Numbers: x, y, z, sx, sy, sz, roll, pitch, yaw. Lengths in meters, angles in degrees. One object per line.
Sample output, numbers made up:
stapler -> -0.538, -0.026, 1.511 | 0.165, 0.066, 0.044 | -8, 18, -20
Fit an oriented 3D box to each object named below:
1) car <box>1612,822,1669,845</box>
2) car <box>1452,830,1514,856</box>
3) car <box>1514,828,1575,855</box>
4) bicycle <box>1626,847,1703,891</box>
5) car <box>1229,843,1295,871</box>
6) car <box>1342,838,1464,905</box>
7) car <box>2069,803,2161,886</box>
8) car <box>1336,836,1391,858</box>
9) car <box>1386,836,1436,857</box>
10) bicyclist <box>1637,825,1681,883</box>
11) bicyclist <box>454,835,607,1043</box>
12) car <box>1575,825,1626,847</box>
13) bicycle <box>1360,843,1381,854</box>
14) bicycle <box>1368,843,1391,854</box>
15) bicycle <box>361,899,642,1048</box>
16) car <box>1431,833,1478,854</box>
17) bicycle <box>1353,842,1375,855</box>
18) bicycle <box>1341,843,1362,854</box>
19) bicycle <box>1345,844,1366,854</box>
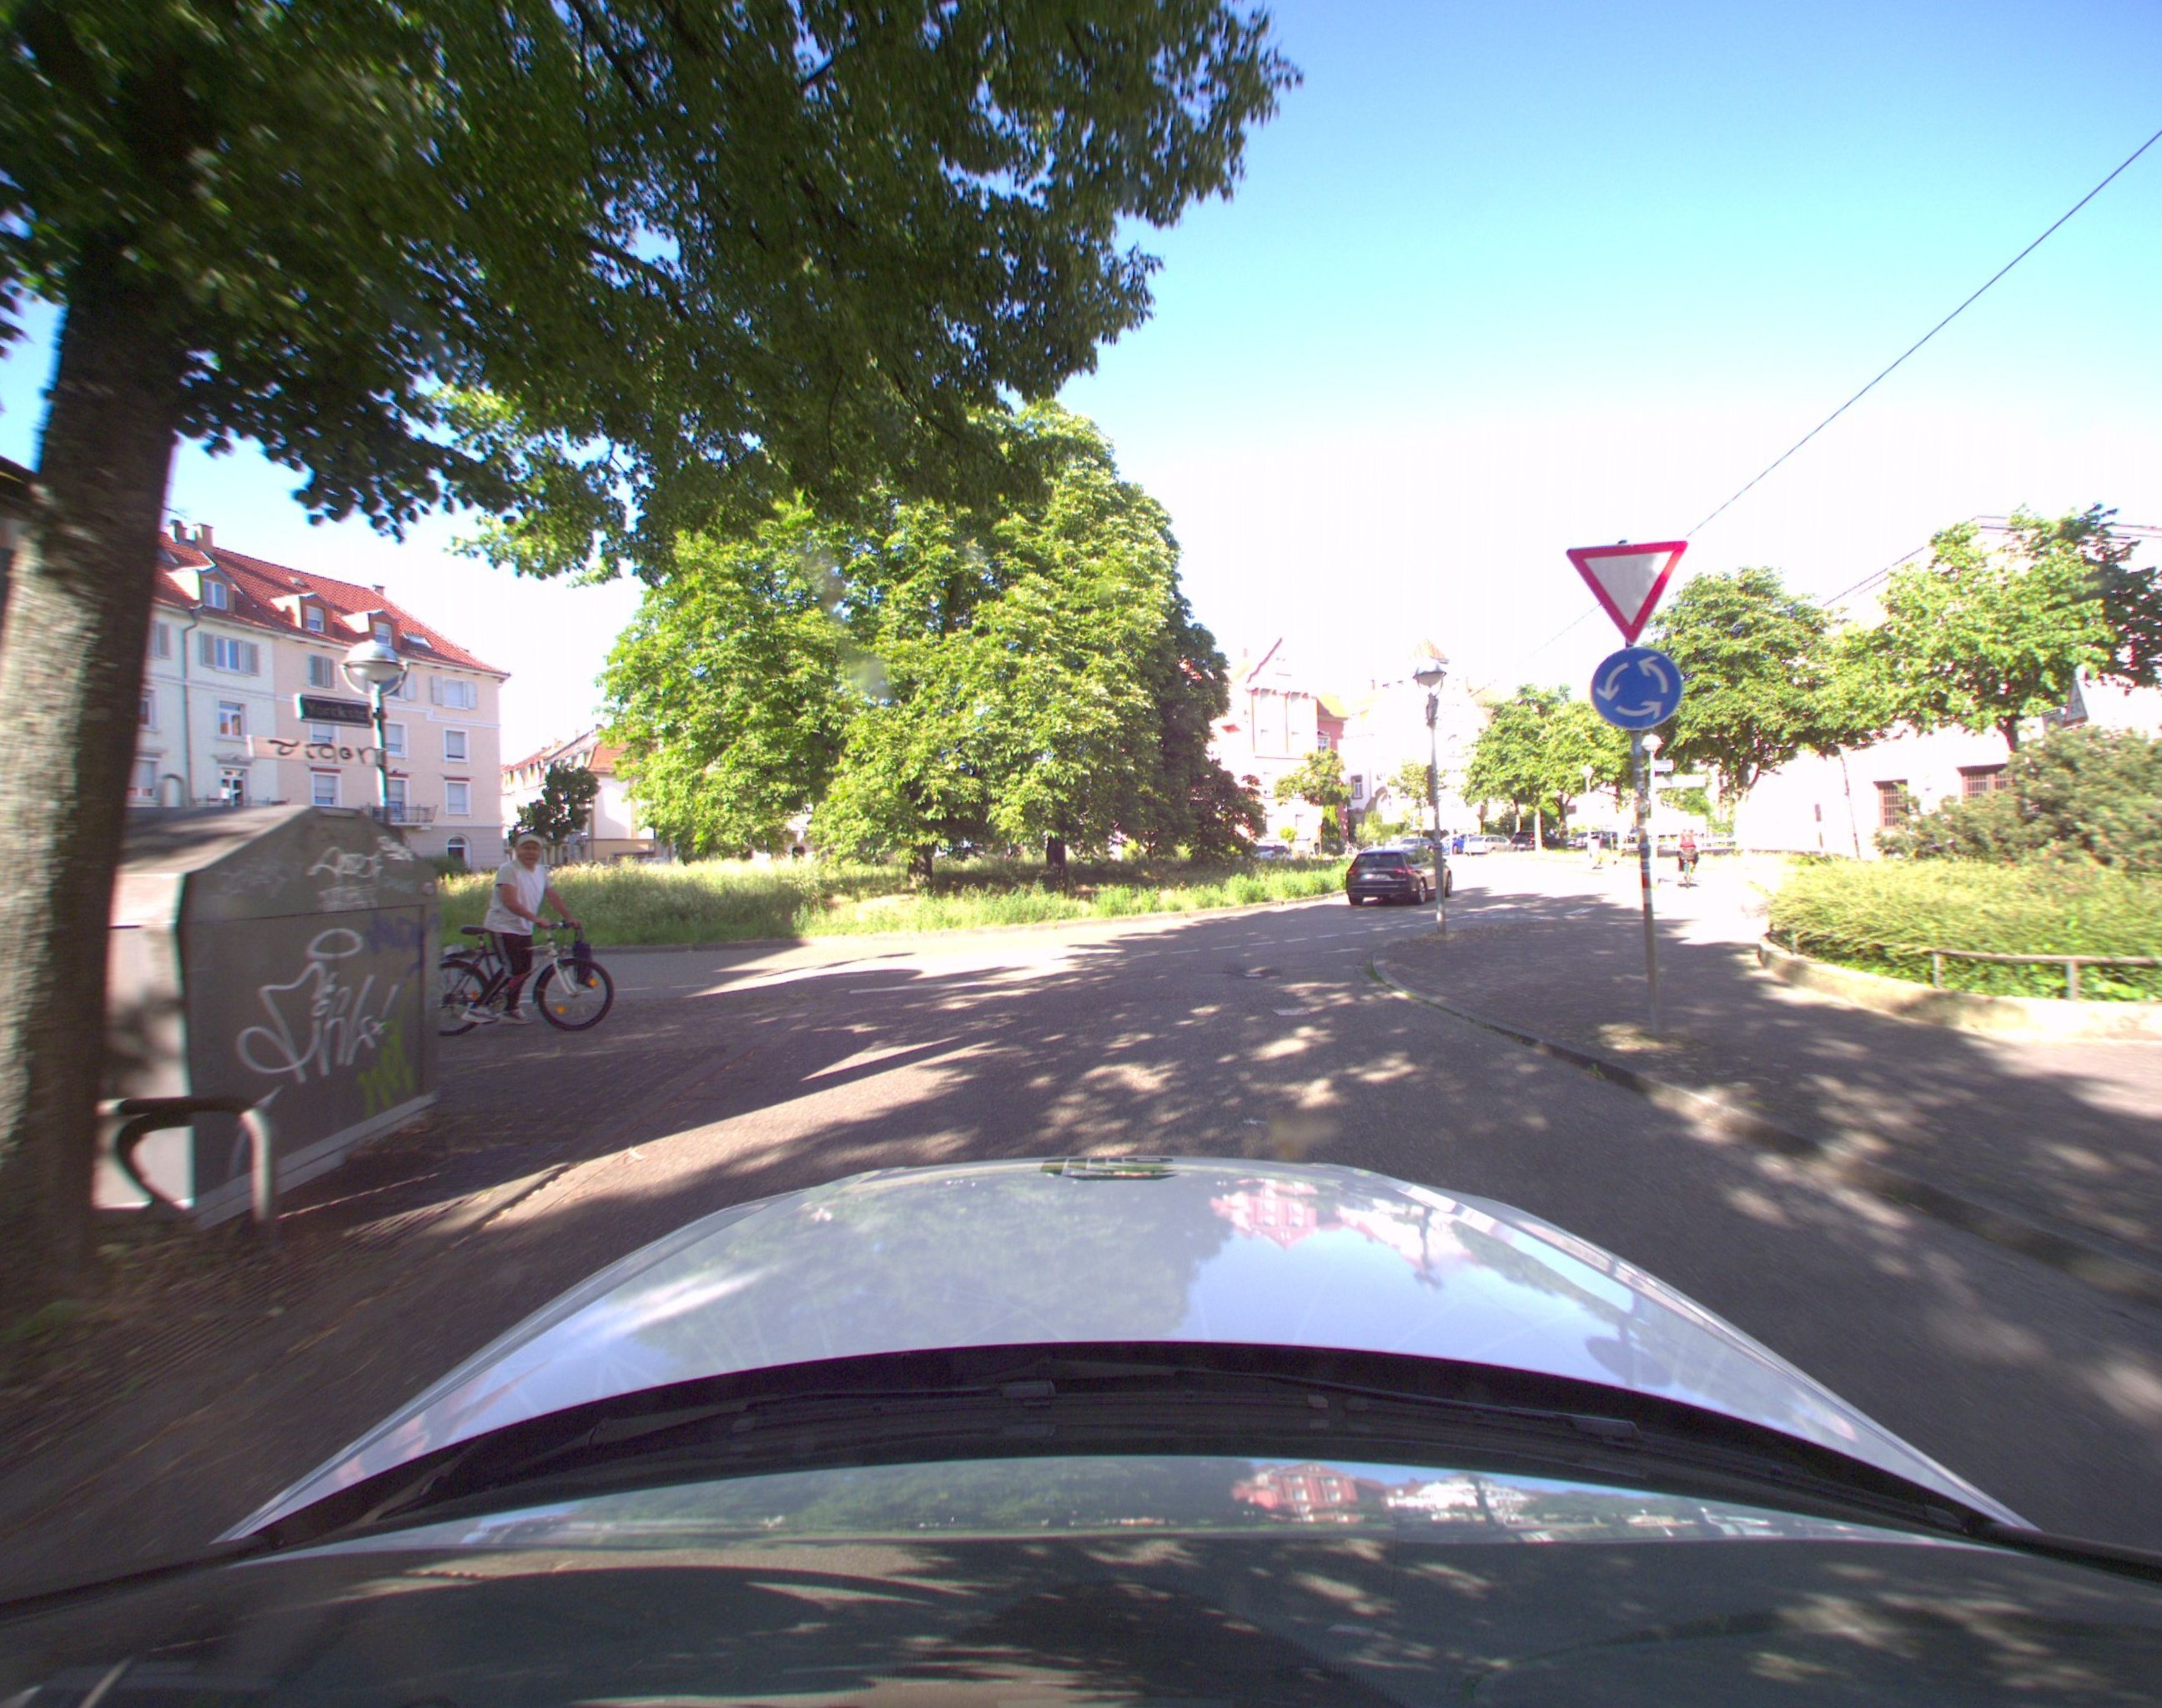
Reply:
car -> 39.350, -1.440, 57.249 | 3.795, 1.455, 1.779 | -3, 0, -30
car -> 25.839, -0.714, 52.333 | 3.989, 1.455, 1.545 | -3, 0, -30
car -> 28.321, -0.771, 49.749 | 3.749, 1.455, 1.545 | -3, 0, -30
bicycle -> 14.514, 0.353, 20.319 | 0.505, 1.036, 1.874 | -2, 0, -1
car -> 10.812, 0.212, 48.826 | 1.569, 1.552, 3.602 | -3, 0, -42
car -> 8.562, 0.410, 21.473 | 1.698, 1.483, 4.171 | -2, 0, 40
car -> 20.734, -0.240, 15.417 | 3.517, 1.472, 1.561 | -3, 0, -22
car -> 19.999, -0.522, 57.611 | 3.659, 1.369, 1.741 | -3, 0, -34
car -> 24.630, -0.557, 60.770 | 3.661, 1.369, 1.740 | -3, 1, -36
bicyclist -> 14.491, -0.005, 20.433 | 0.508, 1.416, 0.741 | -2, 0, -3
bicyclist -> -5.087, 0.739, 7.591 | 0.886, 1.784, 0.796 | -2, 0, -12
car -> 37.890, -1.293, 59.392 | 3.466, 1.436, 1.646 | -3, 0, -28
bicycle -> 22.554, -0.424, 63.506 | 0.477, 0.822, 2.278 | -2, 0, -10
bicycle -> 23.322, -0.409, 63.685 | 0.624, 0.786, 2.278 | -2, 0, -10
bicycle -> -5.244, 1.054, 7.501 | 1.960, 1.144, 0.662 | -2, 0, -12
car -> 29.020, -0.826, 63.252 | 3.487, 1.488, 1.655 | -3, 0, -31
bicycle -> 21.805, -0.424, 62.777 | 0.477, 0.914, 2.278 | -2, 0, -10
bicycle -> 20.702, -0.409, 62.389 | 0.478, 0.800, 2.018 | -2, 0, -15
bicycle -> 21.244, -0.385, 62.953 | 0.477, 0.800, 2.278 | -2, 0, -10
